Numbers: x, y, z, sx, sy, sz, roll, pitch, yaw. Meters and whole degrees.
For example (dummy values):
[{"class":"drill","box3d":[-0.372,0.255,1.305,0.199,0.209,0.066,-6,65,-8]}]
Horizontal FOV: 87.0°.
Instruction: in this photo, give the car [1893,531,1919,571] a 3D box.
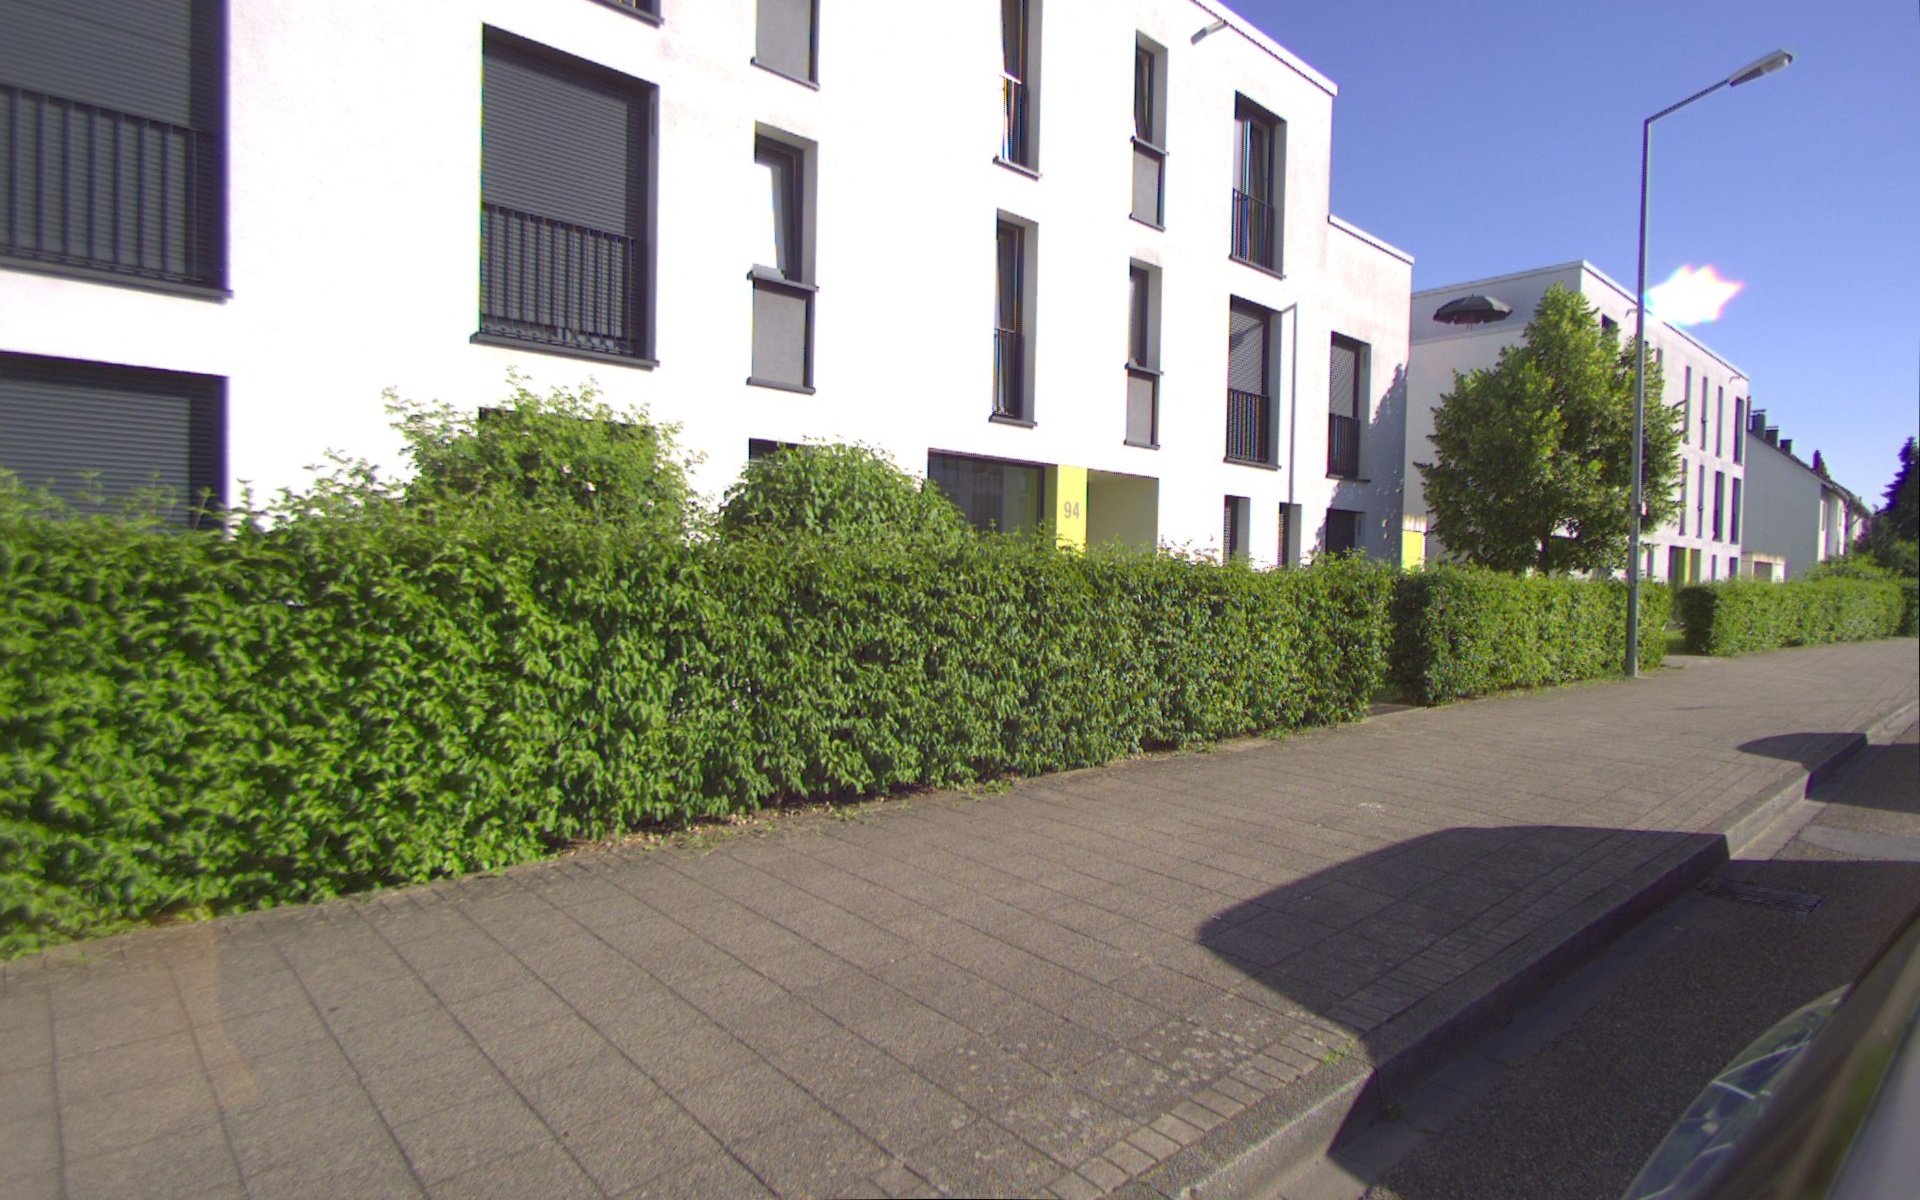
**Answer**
[{"class":"car","box3d":[61.601,-3.085,63.960,6.066,2.376,3.181,-1,0,-40]}]
